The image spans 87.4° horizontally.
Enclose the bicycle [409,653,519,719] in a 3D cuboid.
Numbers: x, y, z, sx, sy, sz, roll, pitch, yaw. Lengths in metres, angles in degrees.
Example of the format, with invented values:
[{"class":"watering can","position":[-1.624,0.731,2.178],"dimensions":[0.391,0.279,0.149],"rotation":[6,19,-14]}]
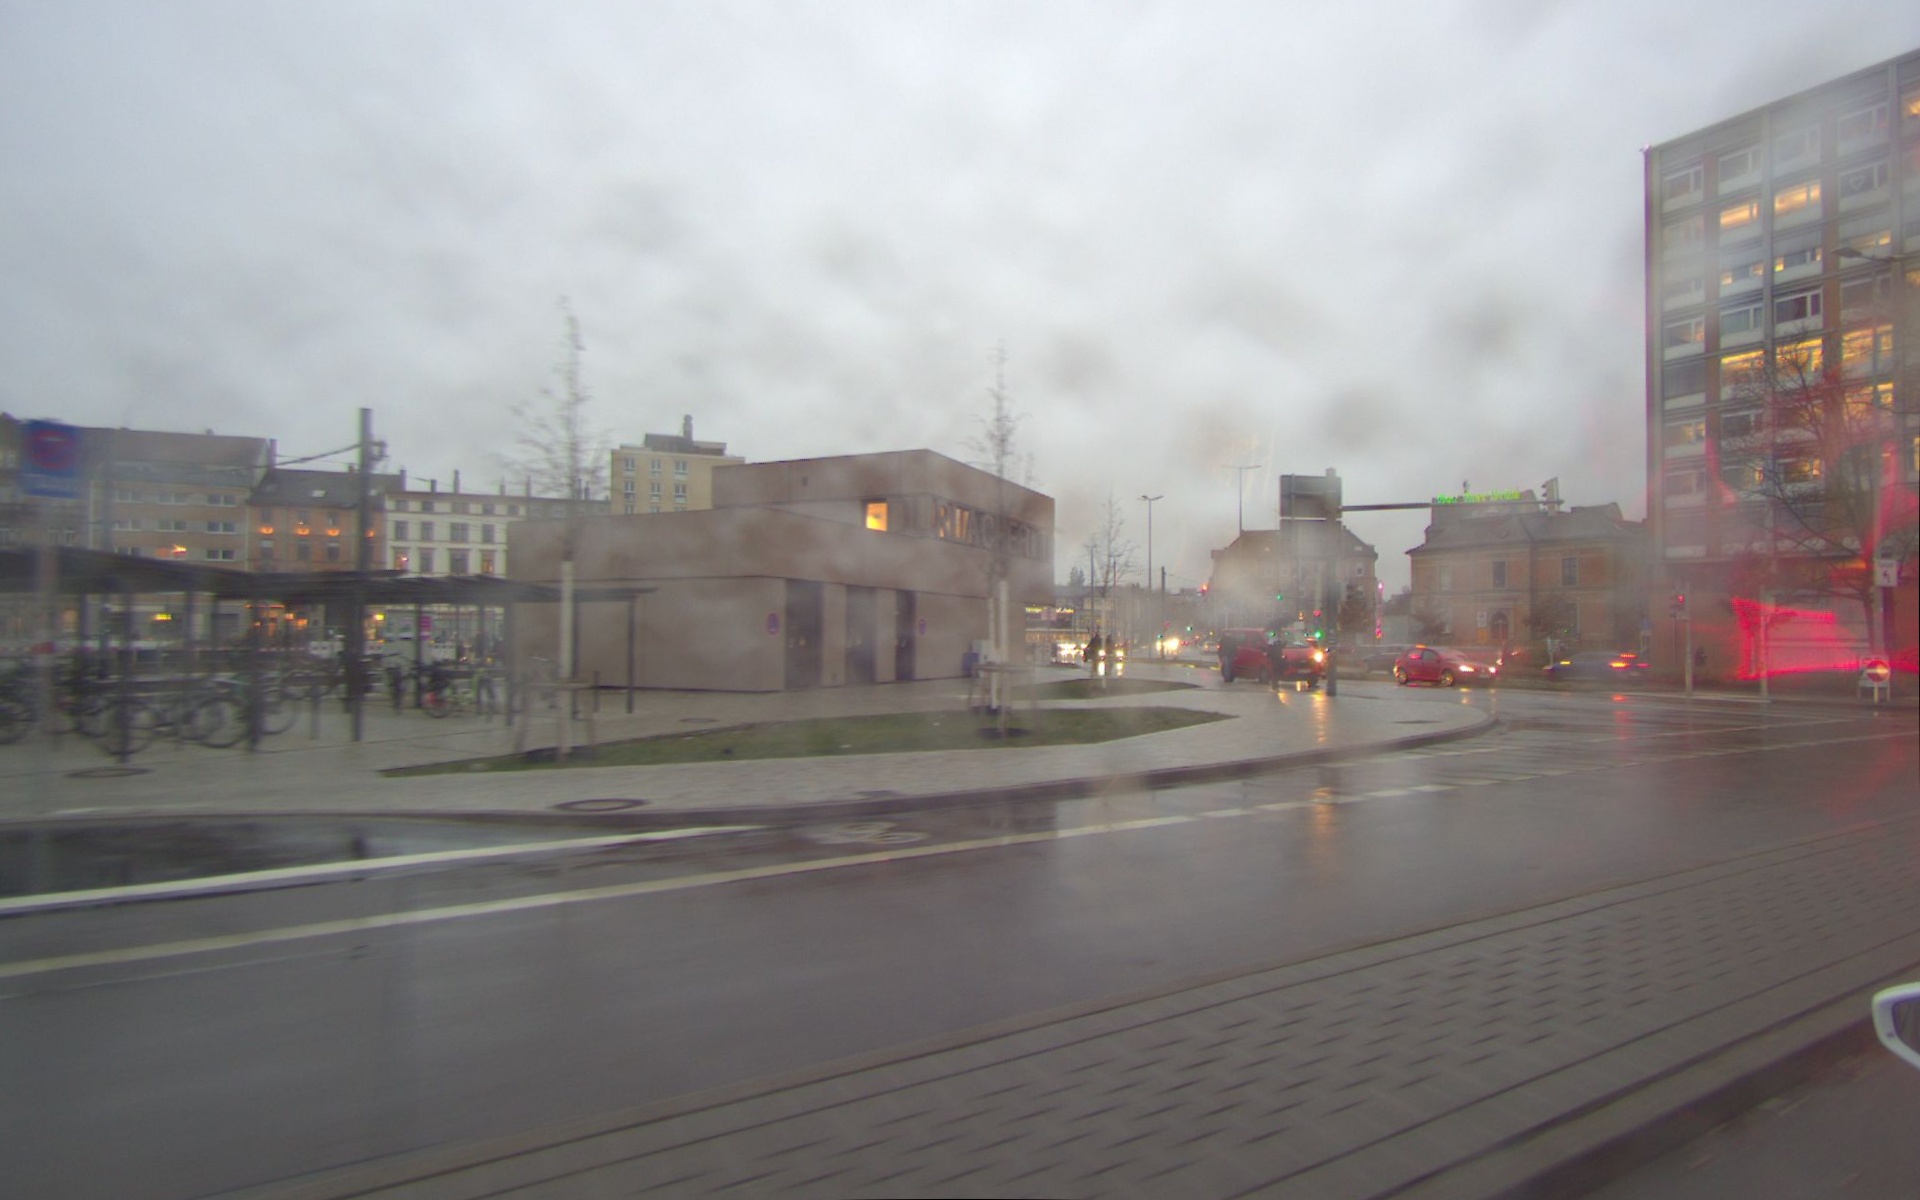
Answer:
[{"class":"bicycle","position":[-9.572,1.629,19.459],"dimensions":[0.540,1.180,1.895],"rotation":[2,-1,30]}]

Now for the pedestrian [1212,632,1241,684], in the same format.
[{"class":"pedestrian","position":[9.120,1.973,34.400],"dimensions":[0.781,1.719,0.461],"rotation":[3,-1,-7]}]

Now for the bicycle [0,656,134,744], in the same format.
[{"class":"bicycle","position":[-13.160,1.410,14.421],"dimensions":[0.540,1.180,1.895],"rotation":[2,-1,30]}]

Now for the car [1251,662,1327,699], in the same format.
[{"class":"car","position":[15.748,3.822,48.254],"dimensions":[1.578,1.468,3.827],"rotation":[3,-1,-16]}]

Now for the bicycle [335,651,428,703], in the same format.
[{"class":"bicycle","position":[-13.975,1.835,24.338],"dimensions":[0.540,1.180,1.895],"rotation":[2,-1,30]}]

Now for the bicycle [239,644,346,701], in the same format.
[{"class":"bicycle","position":[-14.886,1.599,22.459],"dimensions":[0.540,1.180,1.895],"rotation":[2,-1,30]}]

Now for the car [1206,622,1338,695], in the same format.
[{"class":"car","position":[11.043,2.032,35.993],"dimensions":[2.220,2.311,5.025],"rotation":[3,-1,-13]}]

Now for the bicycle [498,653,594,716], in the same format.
[{"class":"bicycle","position":[-8.459,1.705,20.612],"dimensions":[0.540,1.180,1.897],"rotation":[2,-1,27]}]

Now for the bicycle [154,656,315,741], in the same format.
[{"class":"bicycle","position":[-11.010,1.465,15.321],"dimensions":[0.540,1.180,1.895],"rotation":[2,-1,30]}]

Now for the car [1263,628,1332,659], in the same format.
[{"class":"car","position":[22.844,2.906,68.167],"dimensions":[1.966,1.938,5.157],"rotation":[1,-1,-14]}]

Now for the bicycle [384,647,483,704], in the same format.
[{"class":"bicycle","position":[-11.650,1.654,22.291],"dimensions":[0.540,1.180,1.895],"rotation":[2,-1,30]}]

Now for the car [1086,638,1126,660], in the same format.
[{"class":"car","position":[11.014,3.701,75.933],"dimensions":[1.579,1.466,3.635],"rotation":[3,-1,-17]}]

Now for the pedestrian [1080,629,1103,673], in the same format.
[{"class":"pedestrian","position":[5.560,2.157,42.590],"dimensions":[0.670,1.839,0.692],"rotation":[3,-1,-16]}]

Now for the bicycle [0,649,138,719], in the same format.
[{"class":"bicycle","position":[-16.242,1.491,18.261],"dimensions":[0.540,1.180,1.895],"rotation":[2,-1,30]}]

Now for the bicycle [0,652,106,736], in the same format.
[{"class":"bicycle","position":[-13.919,1.379,14.818],"dimensions":[0.540,1.180,1.895],"rotation":[2,-1,30]}]

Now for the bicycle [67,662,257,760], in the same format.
[{"class":"bicycle","position":[-10.703,1.449,13.556],"dimensions":[0.540,1.180,1.895],"rotation":[2,-1,30]}]

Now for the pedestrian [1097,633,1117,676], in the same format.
[{"class":"pedestrian","position":[6.241,2.318,42.611],"dimensions":[0.576,1.795,0.610],"rotation":[3,-1,-16]}]

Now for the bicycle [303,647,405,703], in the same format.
[{"class":"bicycle","position":[-13.571,1.667,22.543],"dimensions":[0.540,1.180,1.895],"rotation":[2,-1,30]}]

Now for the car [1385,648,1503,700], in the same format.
[{"class":"car","position":[18.302,2.763,38.170],"dimensions":[1.731,1.706,4.069],"rotation":[3,-1,-16]}]

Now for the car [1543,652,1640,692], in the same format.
[{"class":"car","position":[27.147,3.081,43.282],"dimensions":[1.445,1.416,3.412],"rotation":[5,-2,-14]}]
